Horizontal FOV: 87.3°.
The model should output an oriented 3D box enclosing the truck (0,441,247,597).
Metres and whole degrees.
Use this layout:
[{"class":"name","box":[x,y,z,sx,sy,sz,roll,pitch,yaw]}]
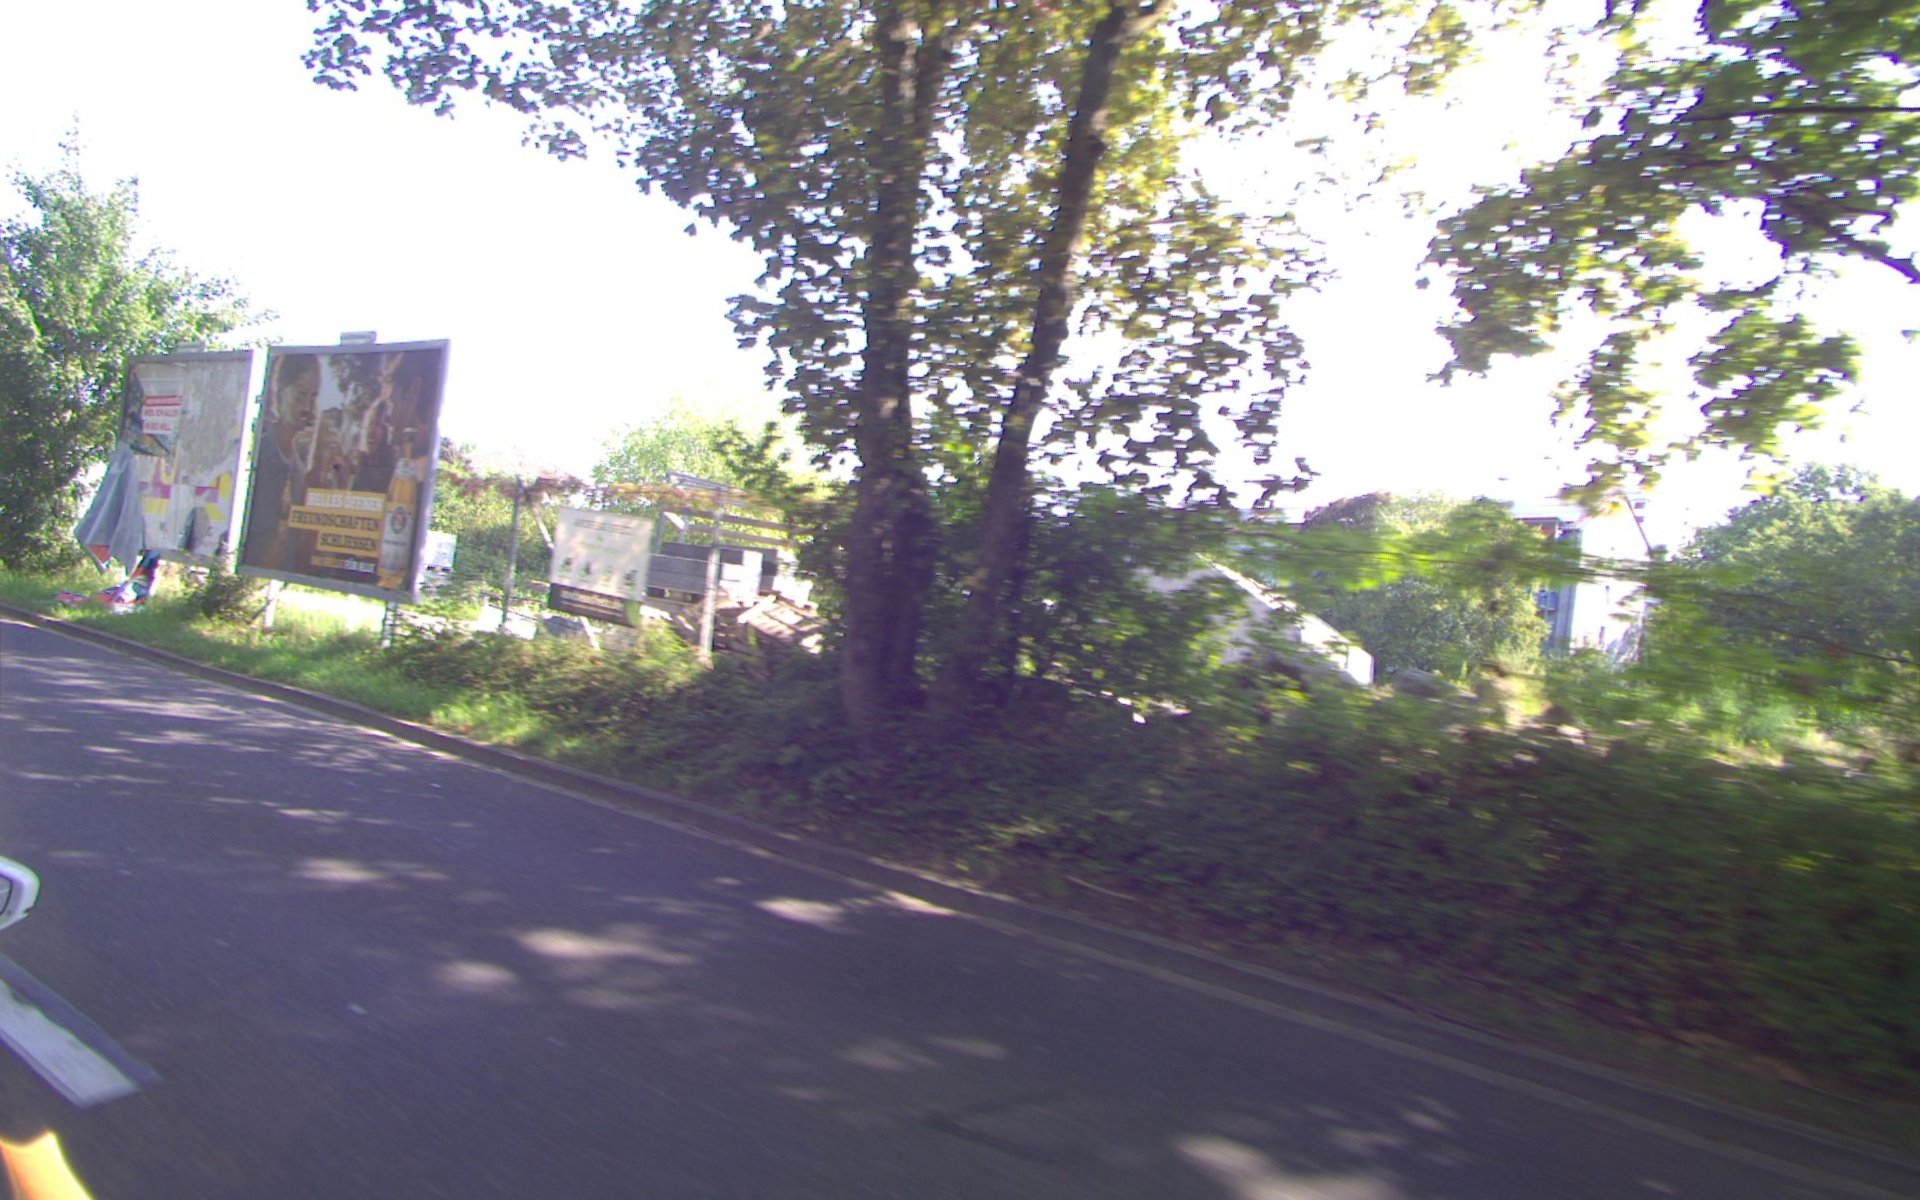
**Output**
[{"class":"truck","box":[-16.165,-1.598,18.808,6.798,2.258,1.919,6,-2,32]}]
